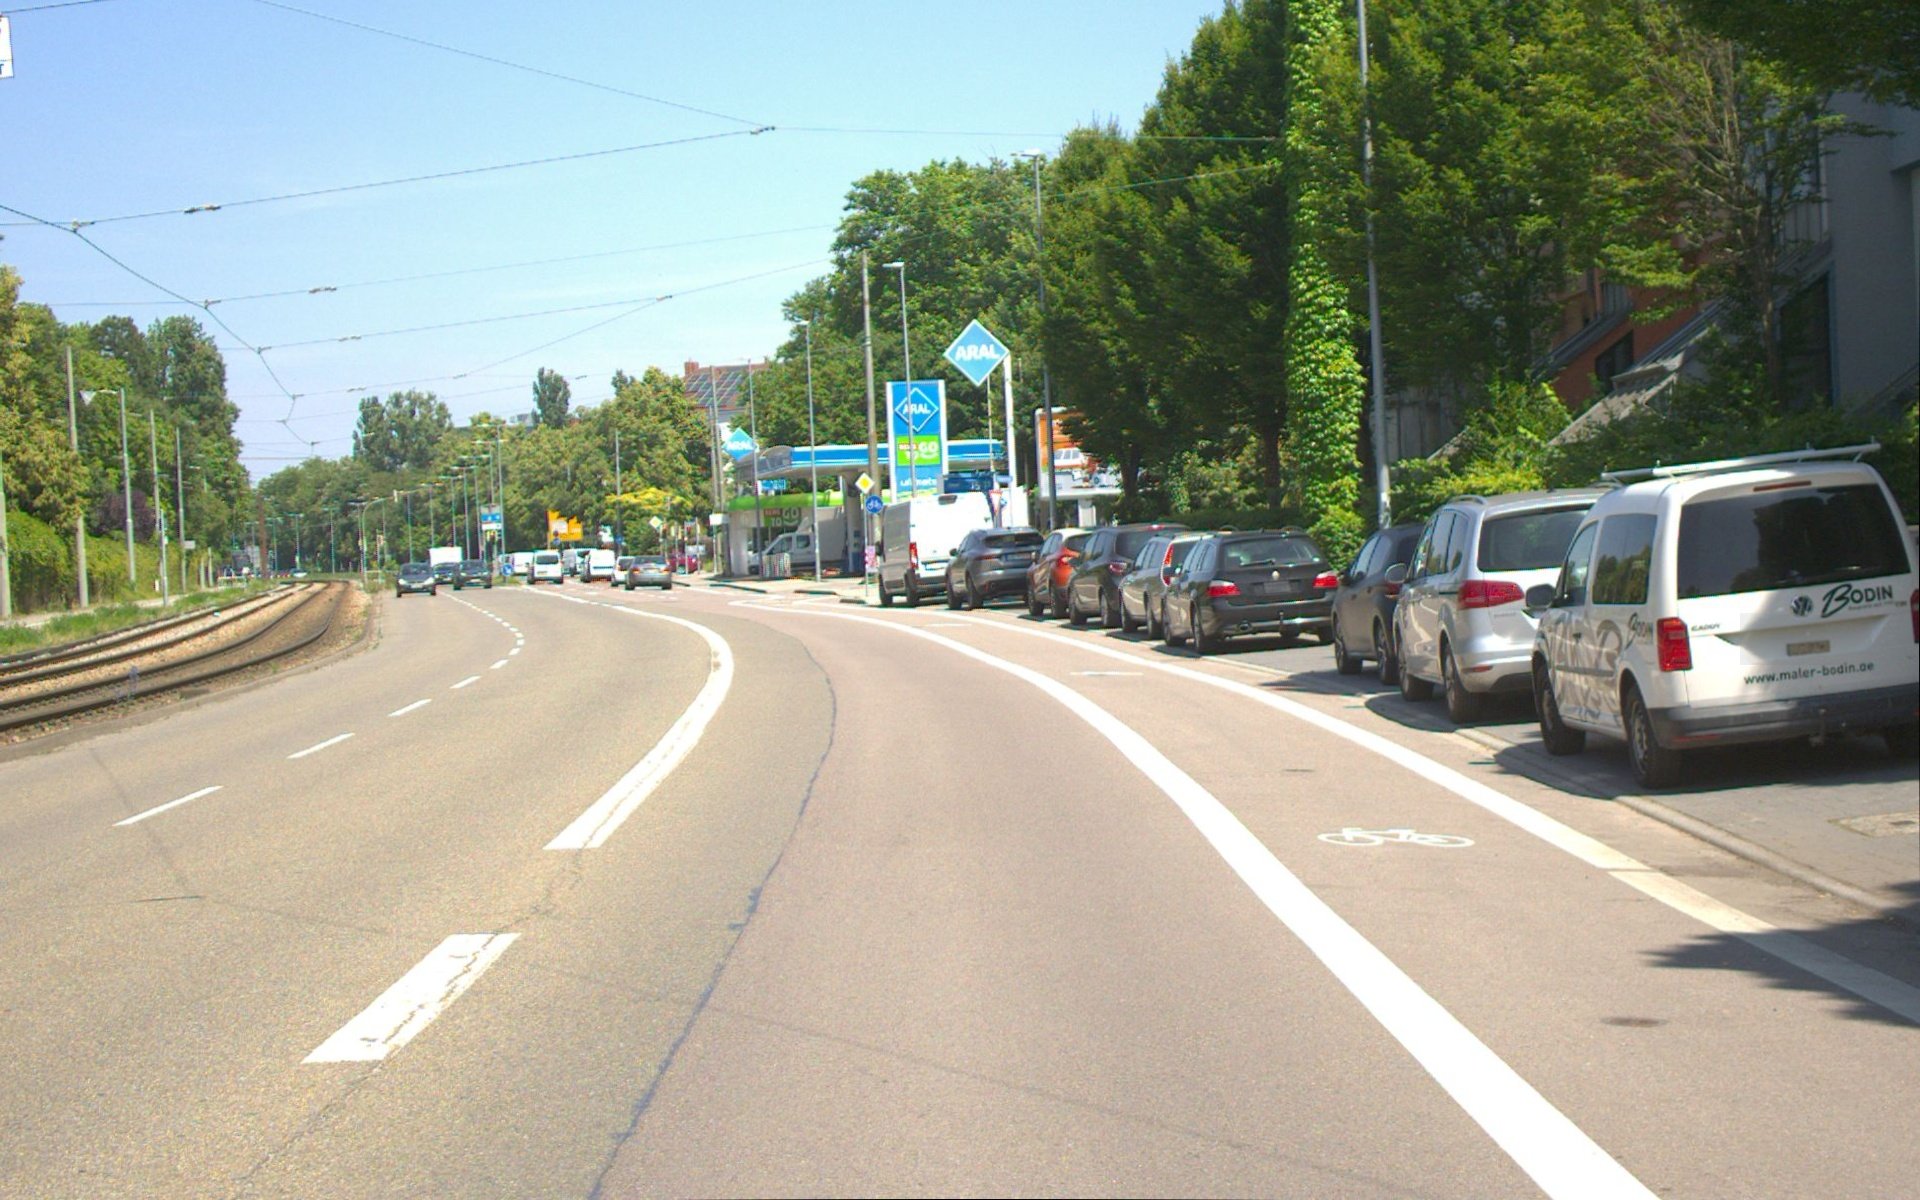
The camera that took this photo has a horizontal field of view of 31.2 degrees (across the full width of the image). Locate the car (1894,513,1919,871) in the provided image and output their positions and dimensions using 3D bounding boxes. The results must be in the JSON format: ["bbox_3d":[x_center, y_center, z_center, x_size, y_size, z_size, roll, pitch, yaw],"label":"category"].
[{"bbox_3d":[4.645,0.419,11.584,1.841,1.524,4.216,-5,2,2],"label":"car"}]

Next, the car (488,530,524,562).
[{"bbox_3d":[-24.761,-2.957,187.453,1.755,1.625,4.325,-5,2,-7],"label":"car"}]

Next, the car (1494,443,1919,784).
[{"bbox_3d":[4.721,0.006,21.520,1.840,1.787,4.354,-5,2,-1],"label":"car"}]

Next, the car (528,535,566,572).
[{"bbox_3d":[-22.760,-2.555,189.504,1.755,1.868,4.325,-5,2,-9],"label":"car"}]

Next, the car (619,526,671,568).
[{"bbox_3d":[-13.214,-2.219,143.910,1.755,1.625,4.325,-5,2,-9],"label":"car"}]

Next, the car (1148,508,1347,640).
[{"bbox_3d":[3.655,-0.380,44.564,1.706,1.487,5.039,-5,2,-4],"label":"car"}]

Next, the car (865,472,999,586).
[{"bbox_3d":[-0.723,-1.677,81.749,2.000,2.448,6.111,-5,2,-10],"label":"car"}]

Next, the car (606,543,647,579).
[{"bbox_3d":[-16.568,-1.938,170.676,1.755,1.625,4.325,-5,2,-7],"label":"car"}]

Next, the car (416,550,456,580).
[{"bbox_3d":[-30.570,-2.039,200.481,1.755,1.625,4.325,-5,2,-14],"label":"car"}]

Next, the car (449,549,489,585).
[{"bbox_3d":[-24.840,-1.672,173.837,1.755,1.625,4.325,-5,2,-9],"label":"car"}]

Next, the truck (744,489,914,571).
[{"bbox_3d":[-6.313,-3.385,165.715,7.967,3.590,2.663,-2,1,-3],"label":"truck"}]

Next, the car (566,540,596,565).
[{"bbox_3d":[-27.109,-3.403,245.853,1.755,1.625,4.325,-5,2,-9],"label":"car"}]

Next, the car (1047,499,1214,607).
[{"bbox_3d":[2.714,-0.769,55.742,1.706,1.557,4.325,-5,2,-9],"label":"car"}]

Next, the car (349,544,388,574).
[{"bbox_3d":[-34.579,-2.393,200.838,1.755,1.625,4.325,-5,2,-14],"label":"car"}]

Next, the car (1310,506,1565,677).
[{"bbox_3d":[4.517,-0.131,33.072,1.583,1.418,4.181,-5,2,-3],"label":"car"}]

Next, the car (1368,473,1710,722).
[{"bbox_3d":[4.548,-0.092,27.705,1.841,1.688,4.779,-5,2,0],"label":"car"}]

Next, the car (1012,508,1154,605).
[{"bbox_3d":[2.169,-0.796,61.661,1.706,1.557,4.325,-5,2,-8],"label":"car"}]

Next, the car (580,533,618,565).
[{"bbox_3d":[-20.120,-2.861,191.388,1.755,1.625,4.325,-5,2,-9],"label":"car"}]

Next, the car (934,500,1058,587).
[{"bbox_3d":[0.713,-1.179,71.635,1.755,1.625,4.325,-5,2,-9],"label":"car"}]

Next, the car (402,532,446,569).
[{"bbox_3d":[-23.649,-2.186,151.593,1.755,1.504,4.325,-5,2,-9],"label":"car"}]

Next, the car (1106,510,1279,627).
[{"bbox_3d":[3.340,-0.493,50.214,1.706,1.487,4.732,-5,2,-5],"label":"car"}]
